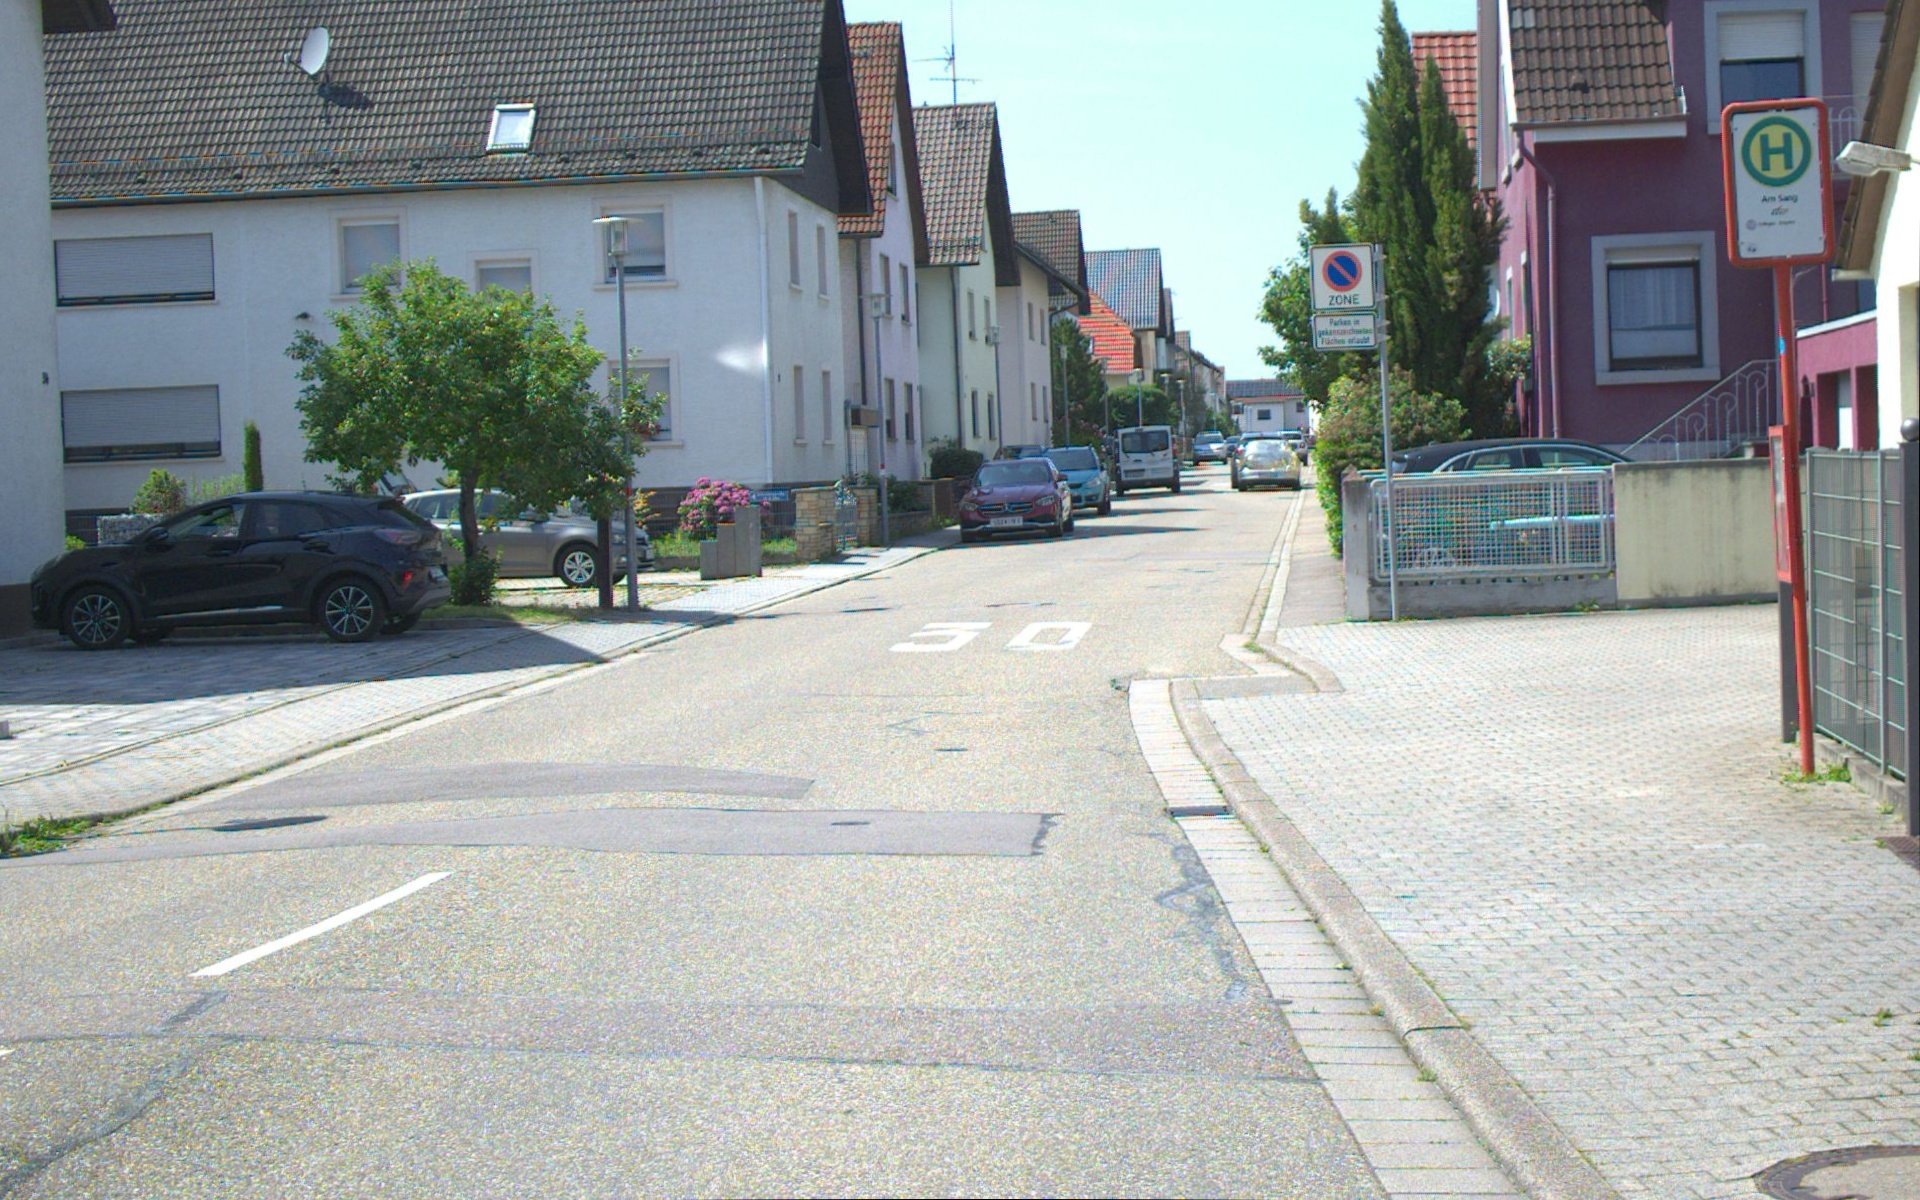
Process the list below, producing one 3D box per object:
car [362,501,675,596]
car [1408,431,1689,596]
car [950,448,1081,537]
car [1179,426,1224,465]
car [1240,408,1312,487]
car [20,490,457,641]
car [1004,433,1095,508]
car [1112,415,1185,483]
[{"bbox_3d":[-6.079,-0.725,47.617,3.987,1.186,1.840,-1,2,3],"label":"car"},{"bbox_3d":[6.071,-0.889,35.626,2.745,1.592,1.171,-2,0,6],"label":"car"},{"bbox_3d":[1.066,-2.008,63.693,1.994,1.548,3.999,-1,2,7],"label":"car"},{"bbox_3d":[12.224,-7.803,173.664,1.954,1.807,3.999,0,1,9],"label":"car"},{"bbox_3d":[9.001,-4.309,97.797,1.952,2.065,3.999,-2,1,6],"label":"car"},{"bbox_3d":[-7.243,-0.367,34.722,3.987,1.378,1.660,-2,2,3],"label":"car"},{"bbox_3d":[2.015,-2.934,78.243,1.924,1.598,4.000,-2,2,0],"label":"car"},{"bbox_3d":[5.481,-4.357,99.604,1.852,1.781,3.999,-2,1,6],"label":"car"}]
